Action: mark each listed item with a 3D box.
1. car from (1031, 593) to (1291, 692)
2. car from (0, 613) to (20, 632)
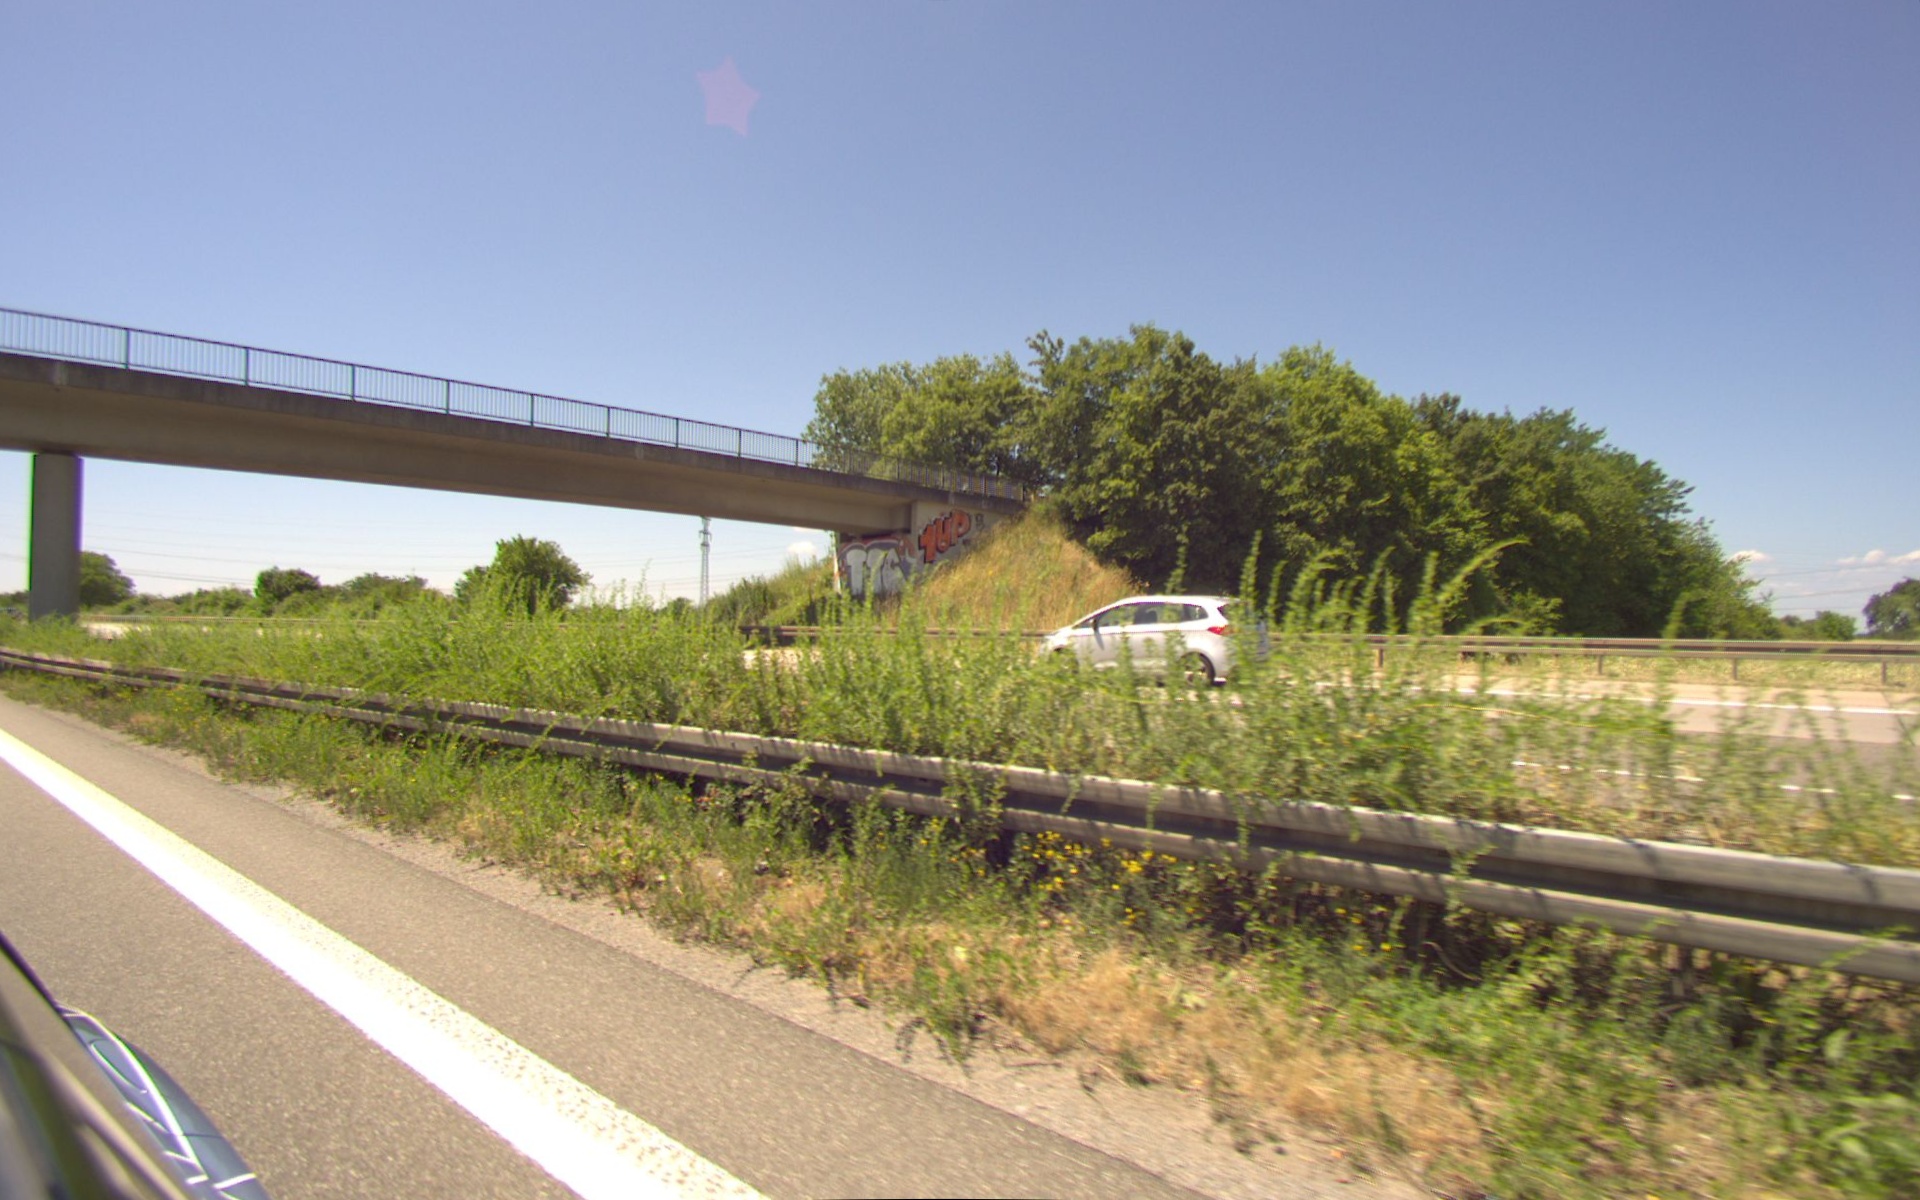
[{"bbox_3d":[3.545,0.717,18.364,4.401,1.586,1.693,-1,-2,41],"label":"car"},{"bbox_3d":[-86.074,2.049,90.789,5.628,1.613,1.660,-1,1,39],"label":"car"}]
